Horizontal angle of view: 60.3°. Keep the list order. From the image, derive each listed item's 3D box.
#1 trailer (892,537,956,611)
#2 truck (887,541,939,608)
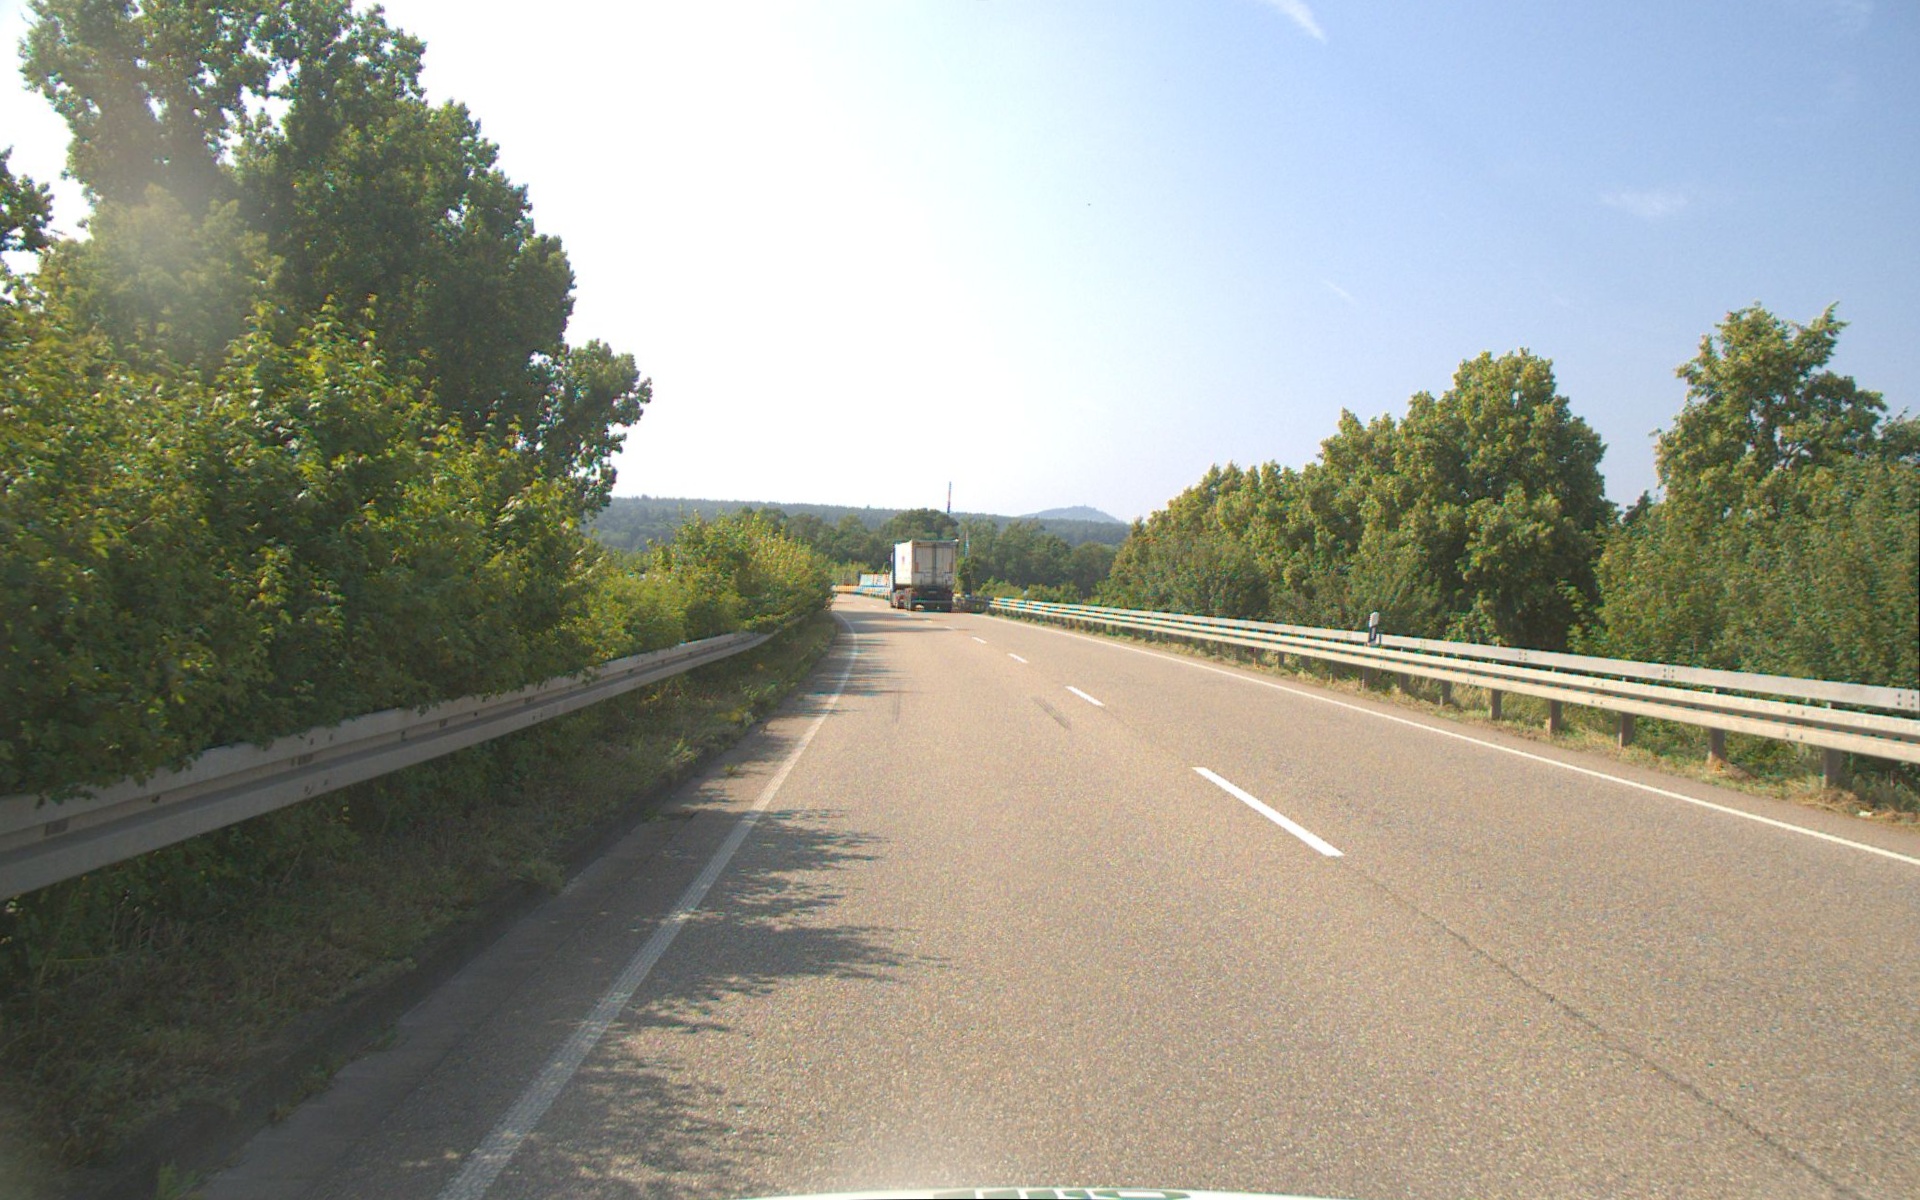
[{"bbox_3d":[-2.174,-1.477,95.231,2.628,3.975,9.657,1,1,-7],"label":"trailer"},{"bbox_3d":[-2.934,-1.563,101.137,2.608,3.964,5.640,1,1,-7],"label":"truck"}]
